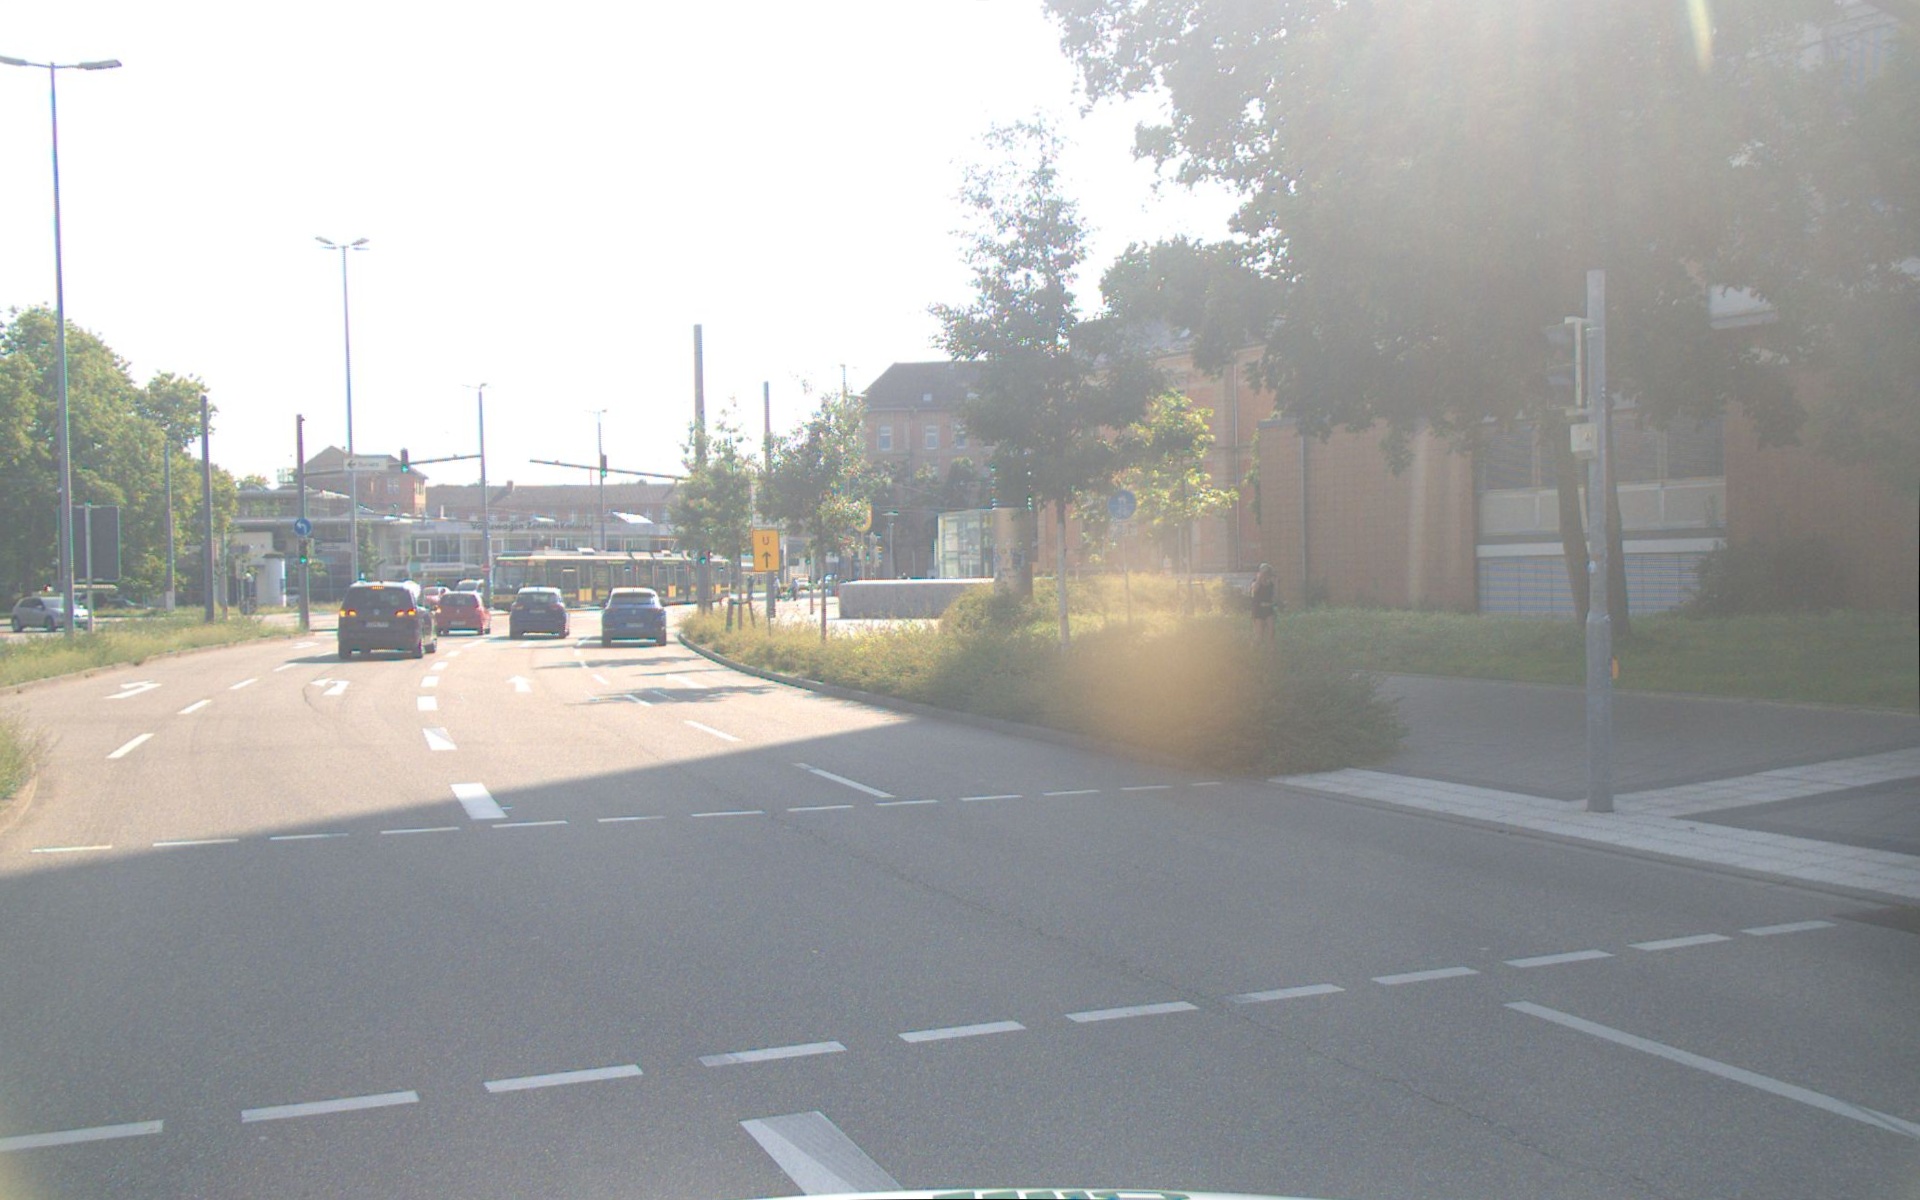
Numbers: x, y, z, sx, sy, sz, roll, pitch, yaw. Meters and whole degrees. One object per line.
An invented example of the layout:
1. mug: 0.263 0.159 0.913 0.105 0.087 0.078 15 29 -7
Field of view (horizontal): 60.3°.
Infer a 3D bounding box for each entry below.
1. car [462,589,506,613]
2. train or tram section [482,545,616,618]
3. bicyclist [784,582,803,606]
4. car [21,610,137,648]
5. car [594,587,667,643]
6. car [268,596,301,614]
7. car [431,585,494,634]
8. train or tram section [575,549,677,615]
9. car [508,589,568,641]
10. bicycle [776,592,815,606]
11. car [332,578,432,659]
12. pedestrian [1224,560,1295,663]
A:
1. car: -32.085 0.053 111.617 1.581 1.501 4.002 -3 0 3
2. train or tram section: -22.501 -1.078 91.278 2.598 3.763 10.599 -1 1 13
3. bicyclist: -11.997 -0.437 118.821 0.927 1.709 1.079 -2 1 -36
4. car: -37.482 1.225 70.402 4.121 1.458 1.821 -1 1 13
5. car: -9.388 0.389 46.870 1.795 1.453 4.396 -2 1 -14
6. car: -58.376 0.420 143.036 1.668 1.549 4.092 -1 0 -8
7. car: -16.945 0.298 56.507 1.795 1.562 4.396 -2 1 -14
8. train or tram section: -20.397 -1.137 101.707 2.649 3.763 10.599 -1 1 8
9. car: -13.793 0.455 54.131 1.795 1.562 4.396 -2 1 -14
10. bicycle: -11.840 -0.068 118.946 2.598 0.981 1.079 -2 1 -37
11. car: -13.554 0.385 39.004 1.795 1.744 4.396 -2 1 -14
12. pedestrian: 4.395 0.166 24.300 0.713 1.468 0.853 -1 0 -16
